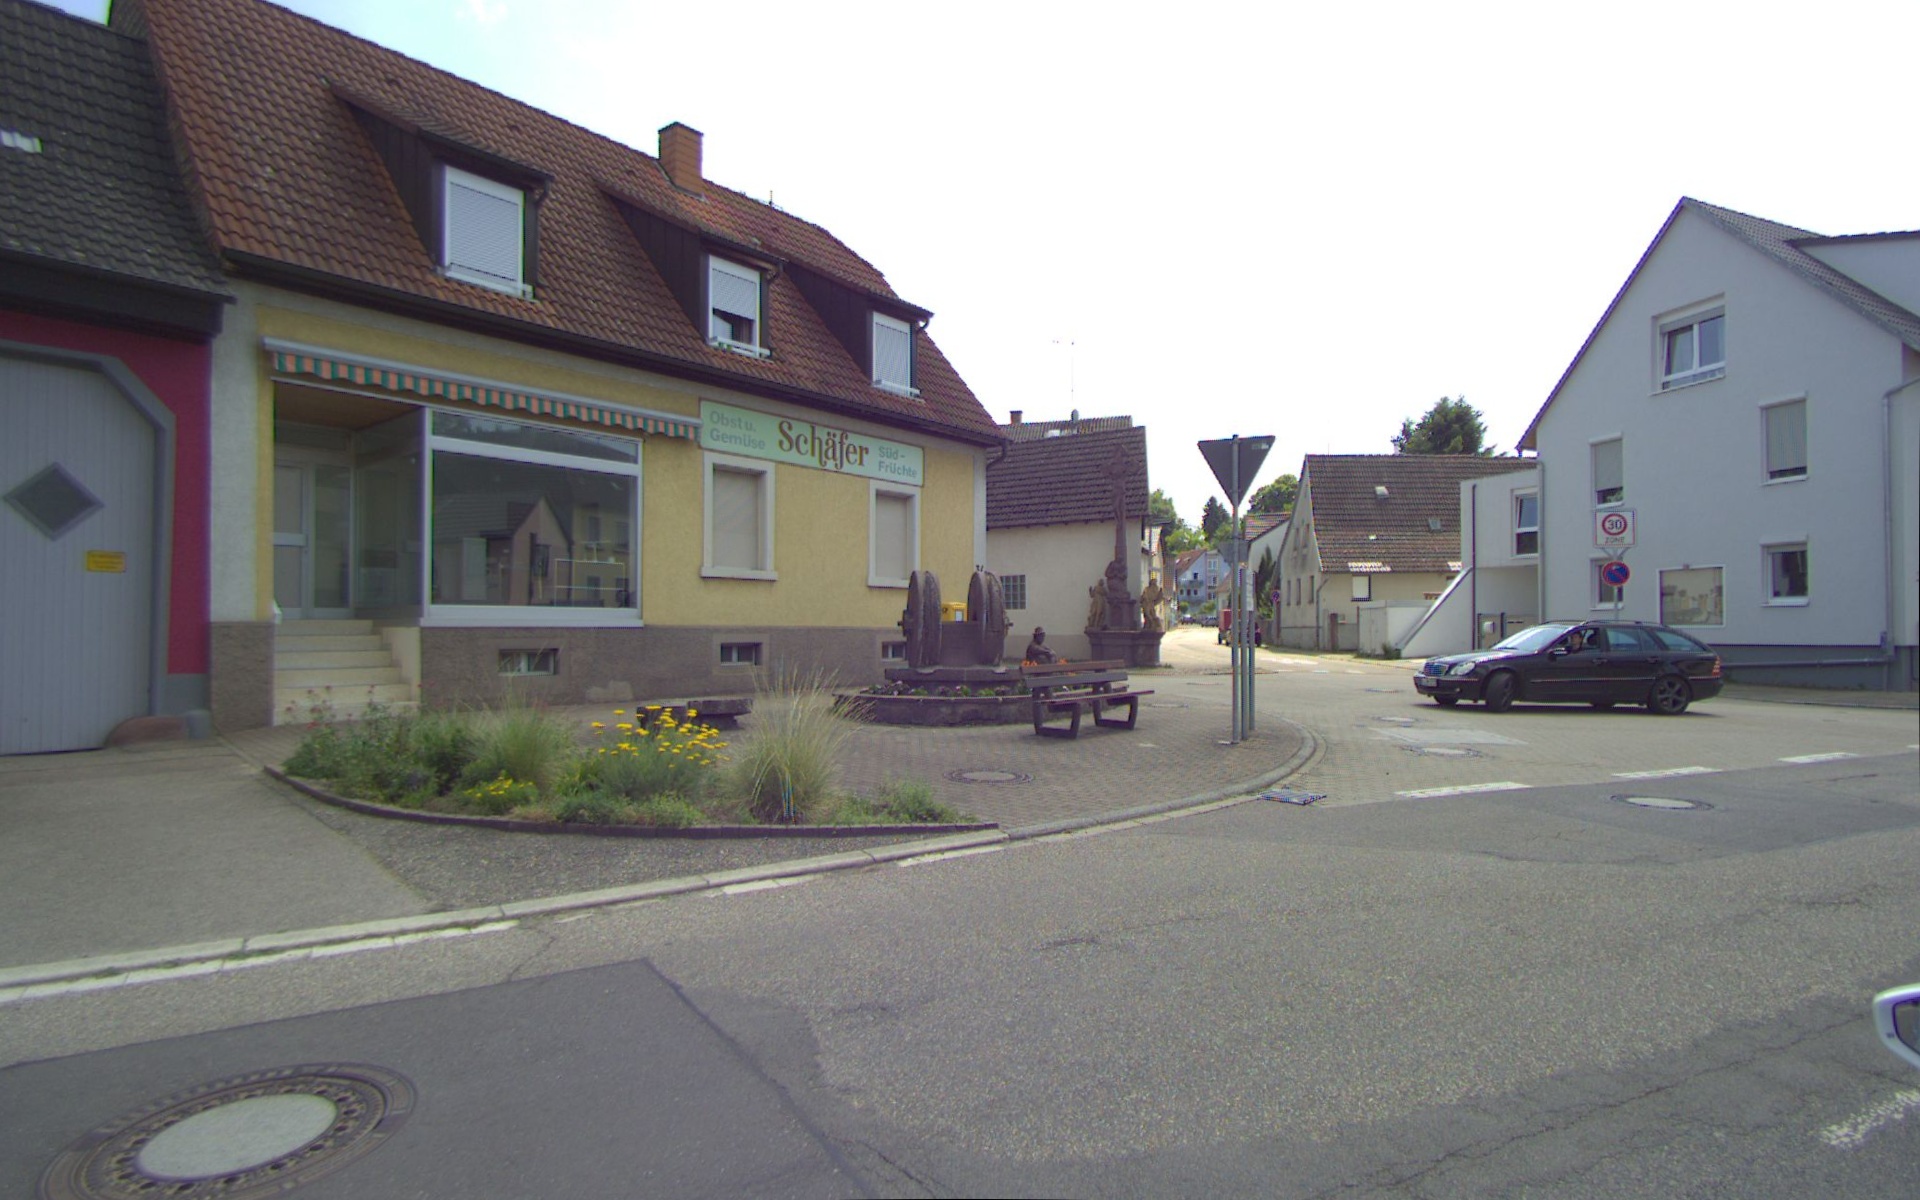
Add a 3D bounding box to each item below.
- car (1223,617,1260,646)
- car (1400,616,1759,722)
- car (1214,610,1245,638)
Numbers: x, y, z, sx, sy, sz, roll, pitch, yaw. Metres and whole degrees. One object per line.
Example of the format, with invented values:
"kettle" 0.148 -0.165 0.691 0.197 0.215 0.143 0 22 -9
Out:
"car" 15.853 1.794 56.635 1.461 1.550 3.479 2 -2 7
"car" 9.716 1.060 16.048 4.543 1.430 1.815 2 -1 4
"car" 16.660 1.482 62.155 1.369 1.656 3.479 2 -2 7
